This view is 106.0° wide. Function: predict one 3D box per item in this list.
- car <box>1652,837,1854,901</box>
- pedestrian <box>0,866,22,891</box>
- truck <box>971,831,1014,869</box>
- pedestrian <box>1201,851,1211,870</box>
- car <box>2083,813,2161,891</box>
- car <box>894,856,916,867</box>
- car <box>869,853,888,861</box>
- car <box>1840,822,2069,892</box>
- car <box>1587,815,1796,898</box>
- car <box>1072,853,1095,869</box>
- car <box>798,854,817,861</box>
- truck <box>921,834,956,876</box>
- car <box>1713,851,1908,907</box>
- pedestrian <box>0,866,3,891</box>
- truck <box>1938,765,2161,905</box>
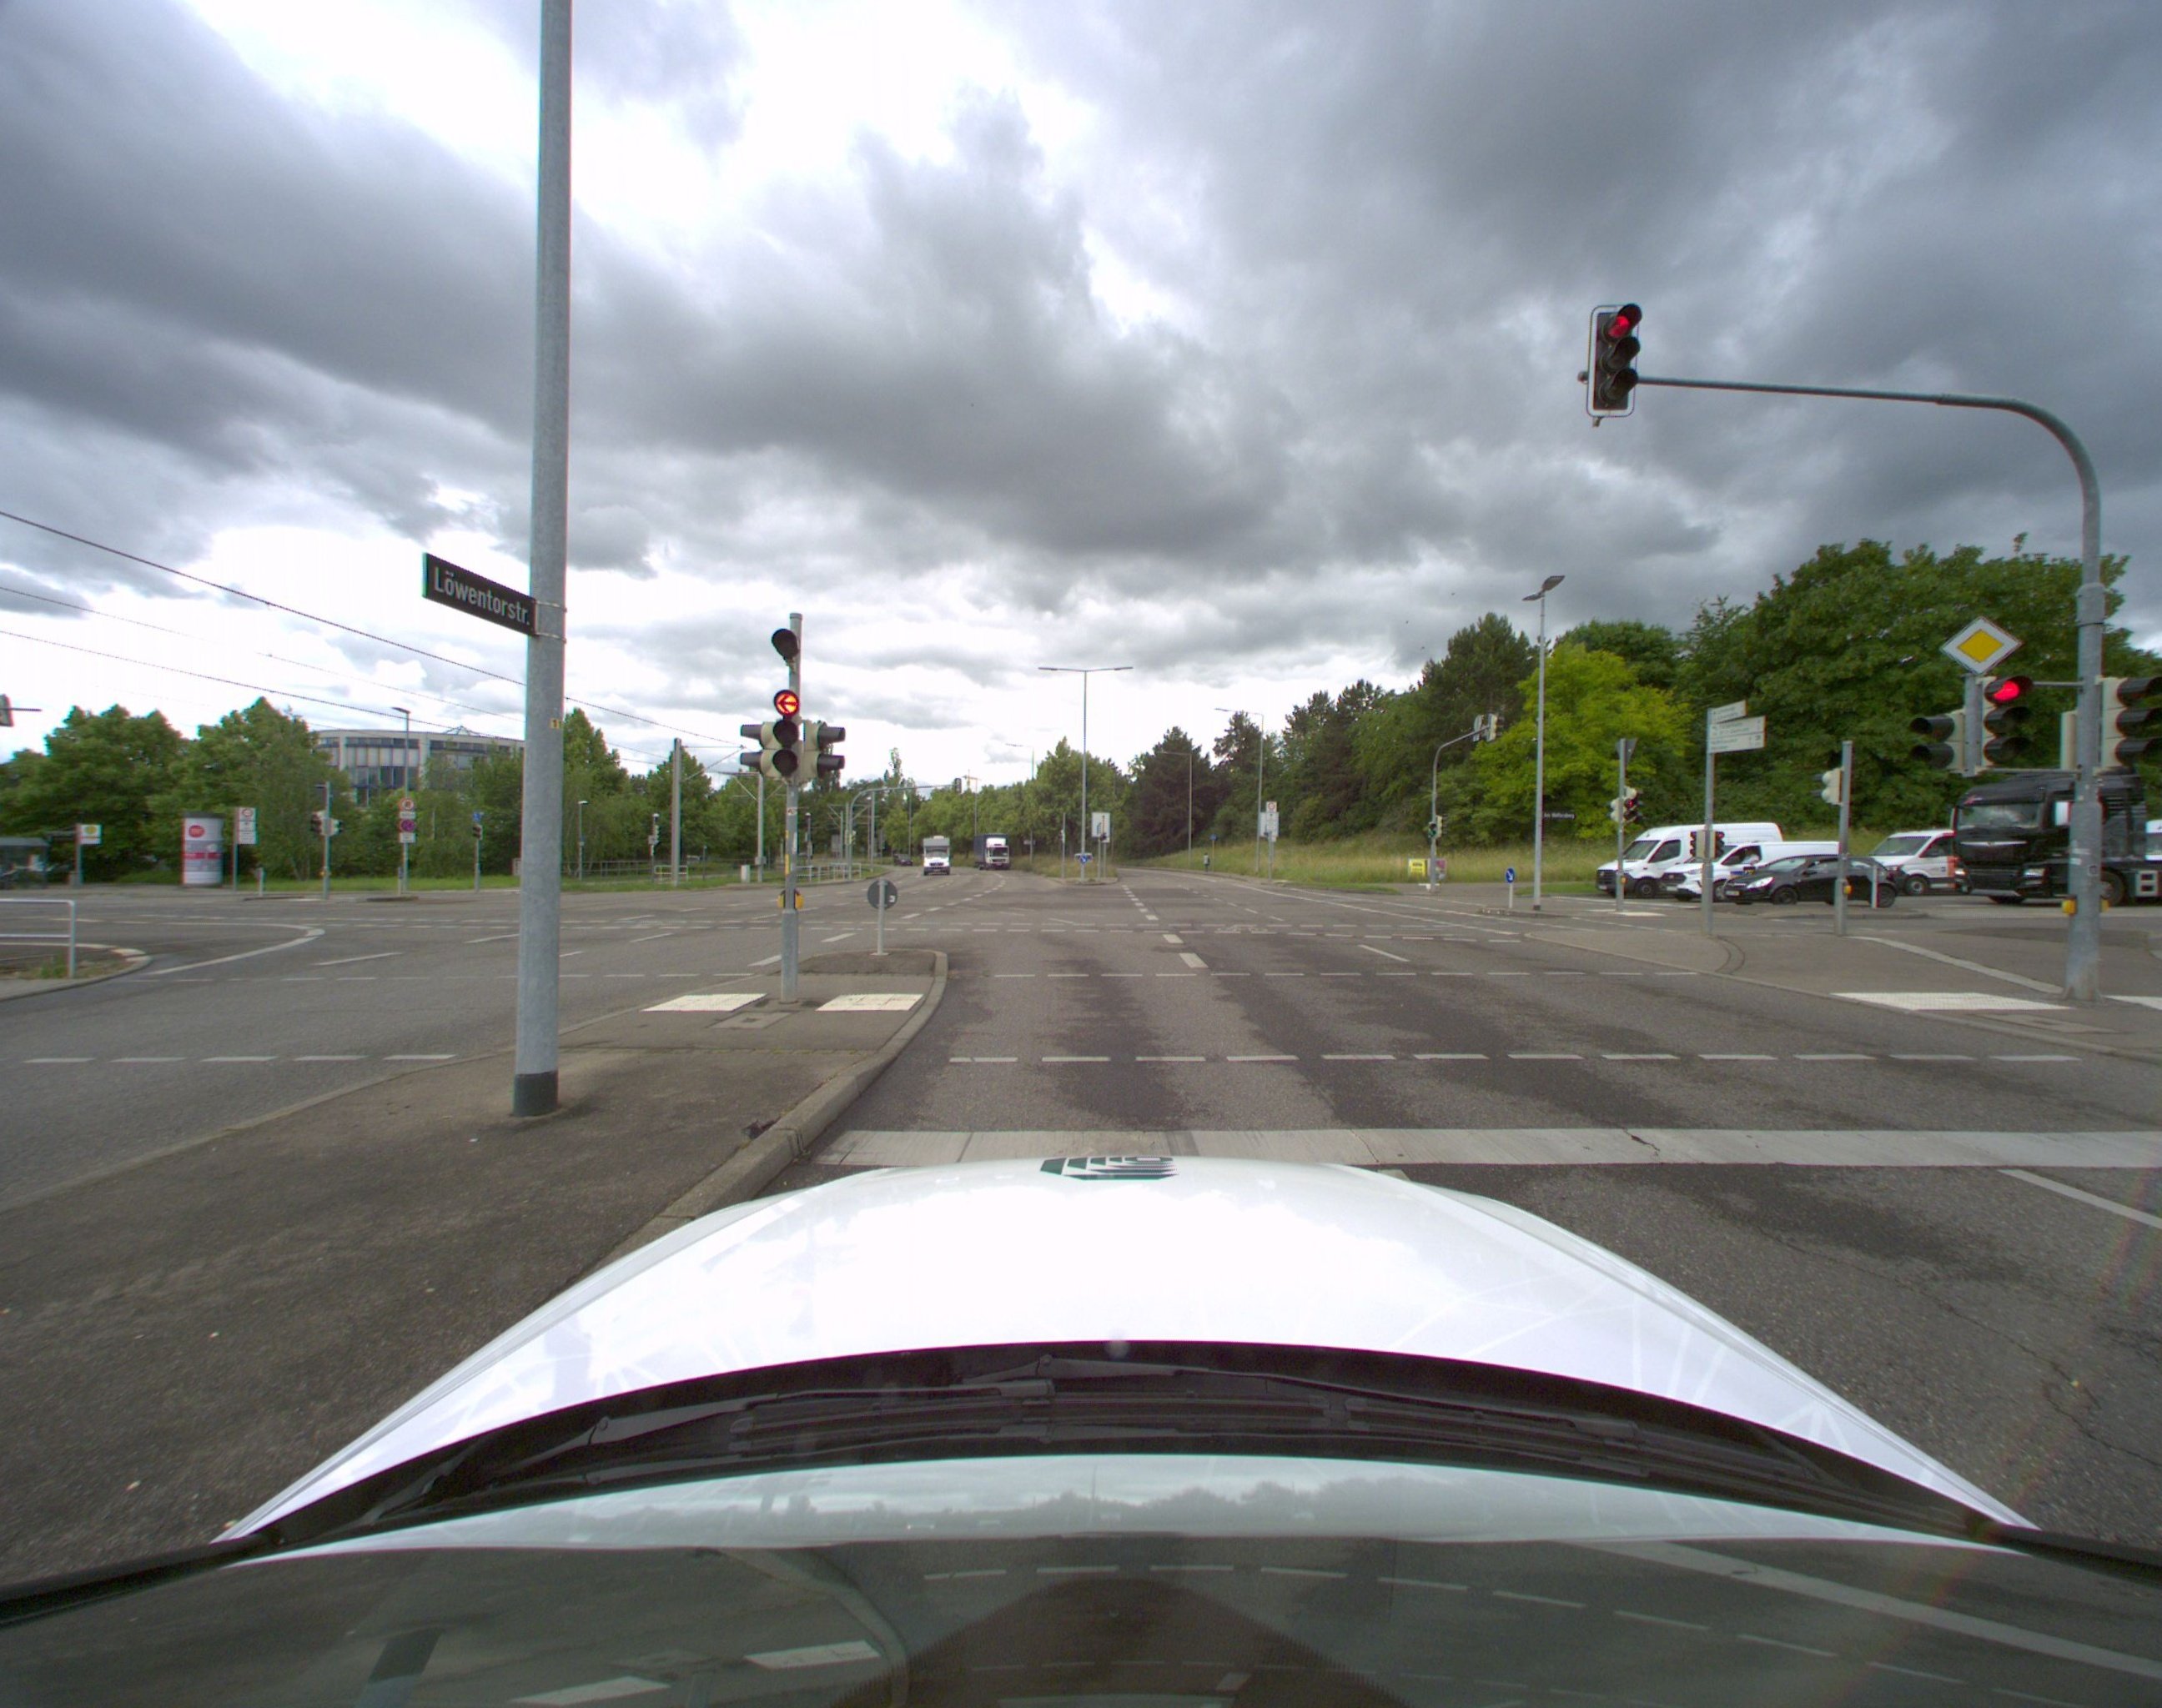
[{"bbox_3d":[21.595,0.458,26.324,4.836,1.896,2.034,-1,0,1],"label":"car"},{"bbox_3d":[-56.601,1.304,42.933,0.774,1.304,0.666,0,0,15],"label":"pedestrian"},{"bbox_3d":[-9.706,-0.361,87.831,3.053,3.760,12.753,0,-1,-14],"label":"truck"},{"bbox_3d":[10.737,0.561,69.946,0.811,1.627,0.791,0,0,1],"label":"pedestrian"},{"bbox_3d":[39.727,-0.130,28.485,6.473,2.609,2.197,-1,0,2],"label":"car"},{"bbox_3d":[-26.301,1.124,121.803,1.793,1.446,4.483,-2,2,-31],"label":"car"},{"bbox_3d":[-39.643,0.538,159.448,3.974,1.546,1.794,0,0,44],"label":"car"},{"bbox_3d":[30.686,0.109,28.760,5.677,2.289,2.136,-1,0,2],"label":"car"},{"bbox_3d":[21.901,0.095,29.404,5.870,2.781,2.136,-1,0,2],"label":"car"},{"bbox_3d":[0.291,0.863,100.466,1.994,1.802,4.822,-1,-1,-10],"label":"car"},{"bbox_3d":[-58.425,0.790,173.932,3.973,1.546,1.795,0,0,38],"label":"car"},{"bbox_3d":[-11.195,0.109,64.465,2.111,3.135,5.892,0,-1,-4],"label":"truck"},{"bbox_3d":[20.284,0.670,22.768,3.906,1.436,1.732,-1,0,1],"label":"car"},{"bbox_3d":[-57.942,1.300,43.183,0.774,1.303,0.666,0,0,15],"label":"pedestrian"},{"bbox_3d":[27.938,-0.515,22.265,6.027,3.538,2.729,-1,0,2],"label":"truck"}]
